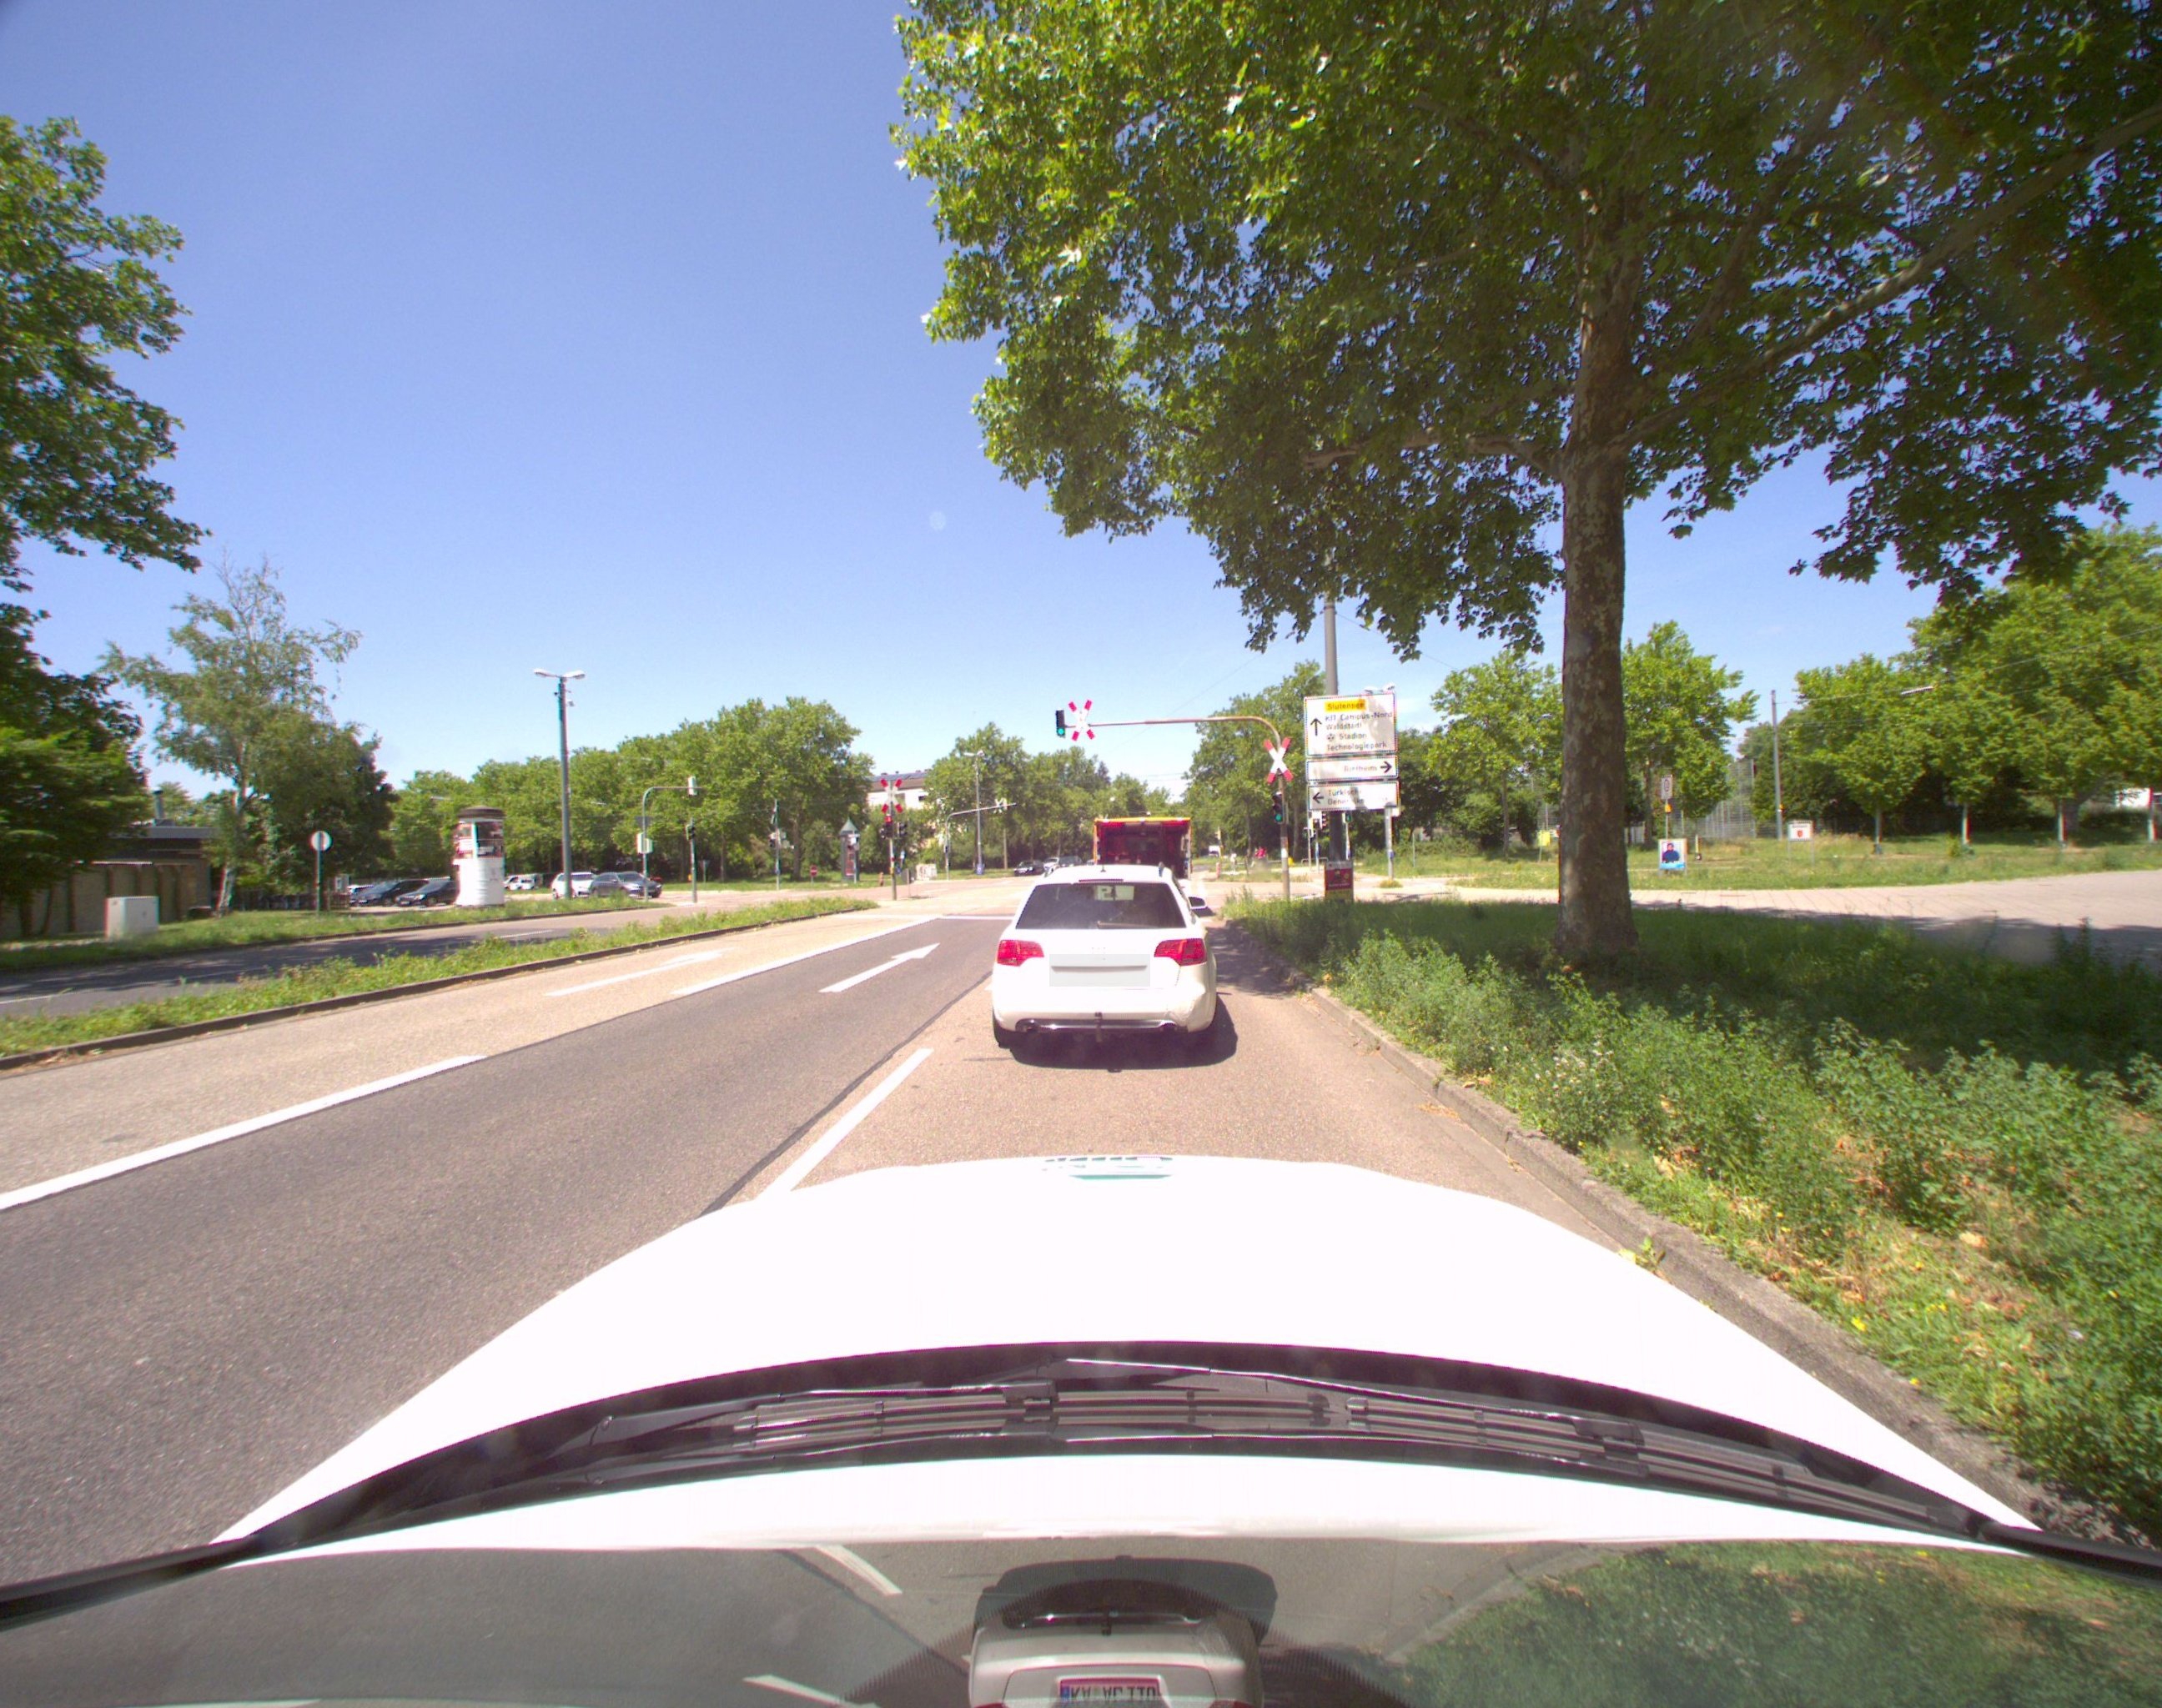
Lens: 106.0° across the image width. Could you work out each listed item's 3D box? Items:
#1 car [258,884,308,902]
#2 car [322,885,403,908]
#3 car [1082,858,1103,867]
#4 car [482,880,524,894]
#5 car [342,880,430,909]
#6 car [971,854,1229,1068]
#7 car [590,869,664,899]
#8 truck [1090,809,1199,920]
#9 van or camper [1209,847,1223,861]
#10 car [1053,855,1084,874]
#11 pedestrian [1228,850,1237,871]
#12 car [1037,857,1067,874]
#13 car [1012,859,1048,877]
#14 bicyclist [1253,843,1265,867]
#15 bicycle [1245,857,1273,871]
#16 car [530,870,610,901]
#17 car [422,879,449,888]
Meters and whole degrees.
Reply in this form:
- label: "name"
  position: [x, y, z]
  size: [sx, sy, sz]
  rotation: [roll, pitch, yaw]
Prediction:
- label: "car"
  position: [-63.466, 3.115, 64.827]
  size: [1.181, 1.205, 2.874]
  rotation: [-2, 1, -3]
- label: "car"
  position: [-51.830, 3.048, 58.833]
  size: [1.930, 1.423, 4.070]
  rotation: [-2, 0, 8]
- label: "car"
  position: [2.005, 1.385, 139.366]
  size: [1.864, 1.393, 4.025]
  rotation: [-2, 0, 28]
- label: "car"
  position: [-66.231, 3.777, 93.397]
  size: [1.481, 1.397, 3.572]
  rotation: [-2, 0, 29]
- label: "car"
  position: [-44.809, 2.575, 52.617]
  size: [1.769, 1.651, 4.201]
  rotation: [-2, 0, 6]
- label: "car"
  position: [0.309, 0.742, 7.403]
  size: [1.754, 1.445, 3.622]
  rotation: [-1, 0, 6]
- label: "car"
  position: [-23.905, 1.597, 42.838]
  size: [3.941, 1.457, 1.776]
  rotation: [-2, 0, 34]
- label: "truck"
  position: [1.802, 0.271, 22.584]
  size: [2.499, 2.559, 7.613]
  rotation: [0, 0, 5]
- label: "van or camper"
  position: [33.241, 0.073, 200.667]
  size: [2.640, 3.331, 5.524]
  rotation: [-2, 0, 16]
- label: "car"
  position: [-1.129, 0.953, 74.310]
  size: [1.897, 1.539, 4.312]
  rotation: [-2, 0, 11]
- label: "pedestrian"
  position: [10.837, 0.479, 58.226]
  size: [0.548, 1.484, 0.632]
  rotation: [-2, 0, 18]
- label: "car"
  position: [-2.850, 1.126, 80.970]
  size: [1.774, 1.615, 4.421]
  rotation: [-2, 0, 14]
- label: "car"
  position: [-4.545, 1.274, 73.835]
  size: [1.936, 1.440, 4.763]
  rotation: [-2, 0, 13]
- label: "bicyclist"
  position: [12.168, 0.071, 55.727]
  size: [0.668, 1.556, 0.580]
  rotation: [-2, 0, 4]
- label: "bicycle"
  position: [12.160, 0.658, 55.726]
  size: [1.797, 0.895, 0.589]
  rotation: [-2, -1, 3]
- label: "car"
  position: [-29.409, 1.833, 46.839]
  size: [4.403, 1.604, 2.231]
  rotation: [-2, 0, 34]
- label: "car"
  position: [-88.148, 4.015, 111.218]
  size: [0.996, 0.994, 2.738]
  rotation: [-2, 0, 31]
